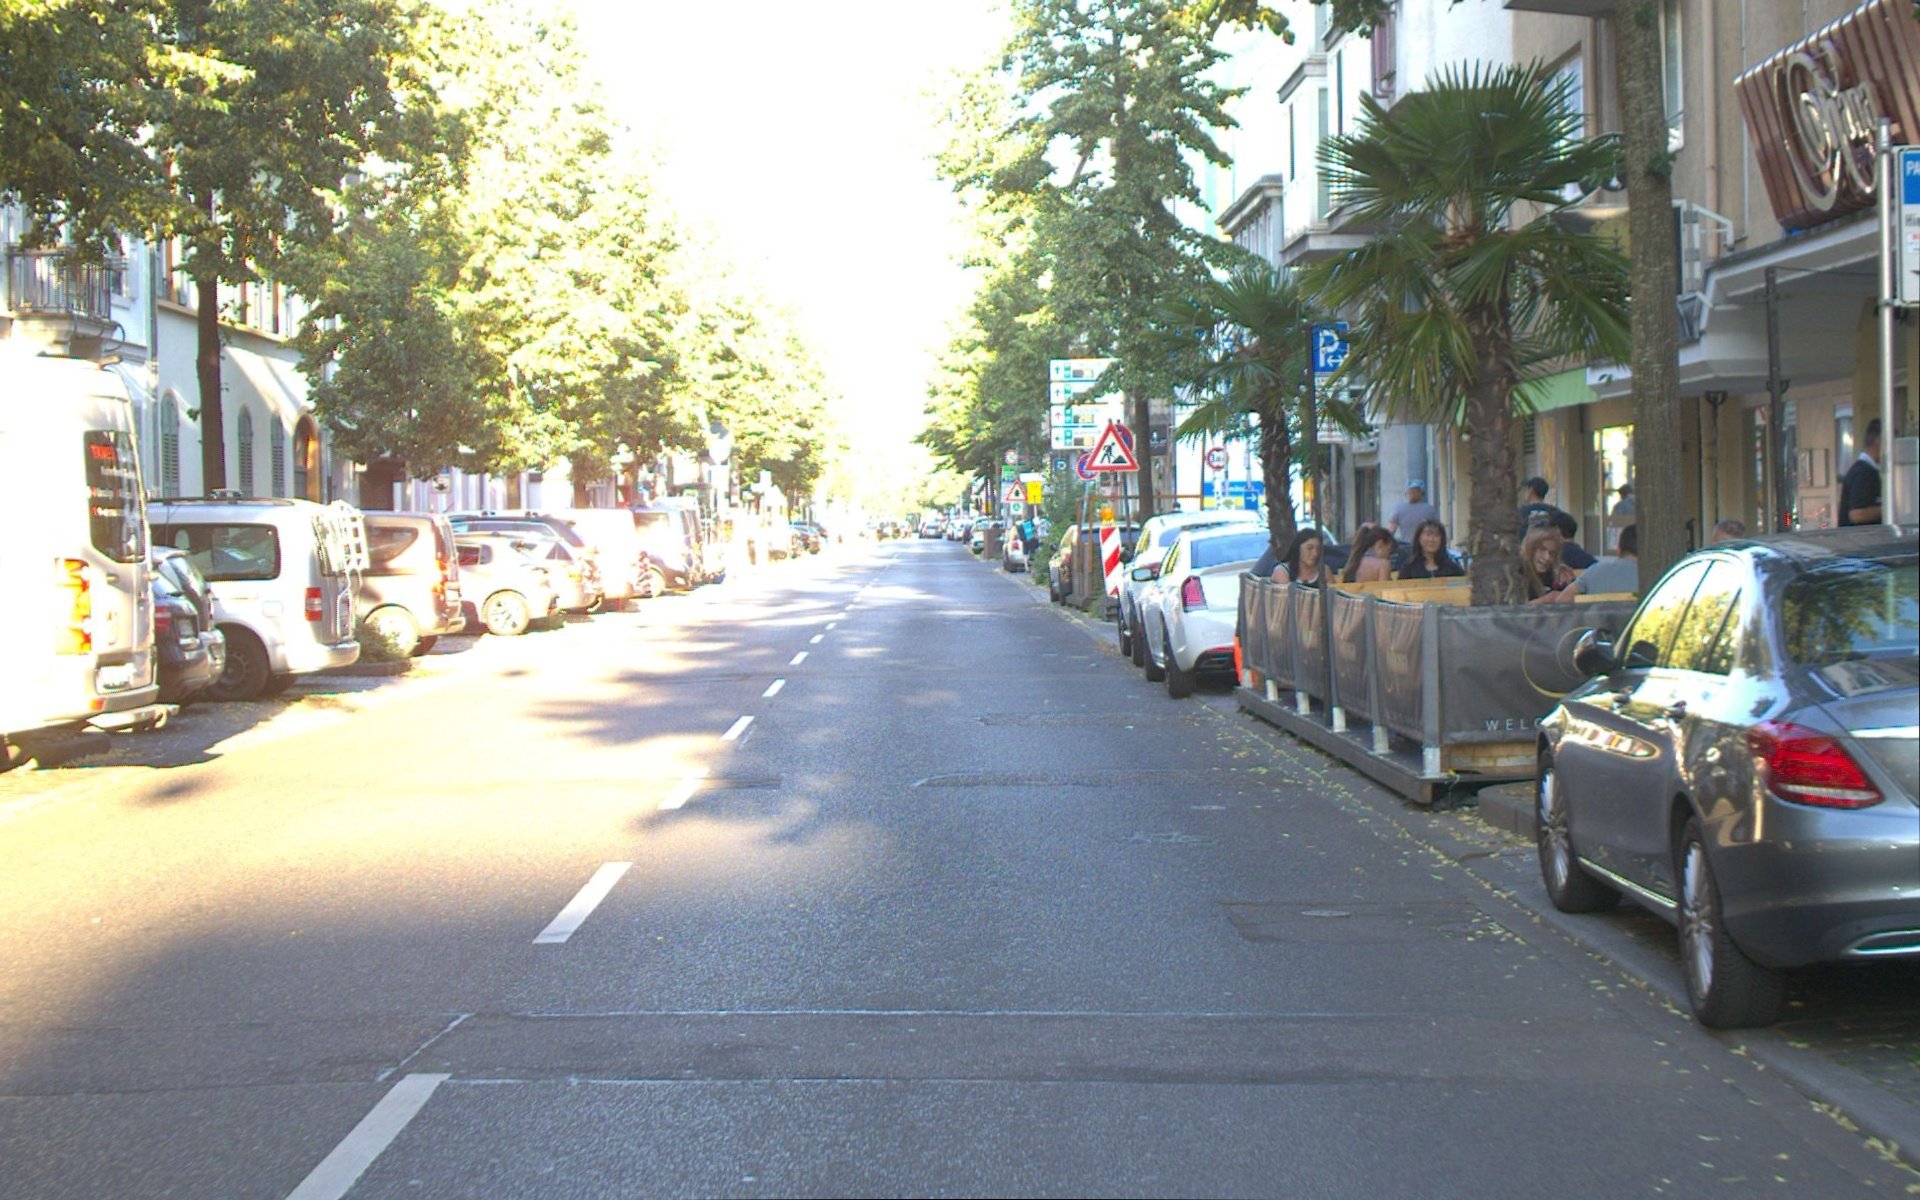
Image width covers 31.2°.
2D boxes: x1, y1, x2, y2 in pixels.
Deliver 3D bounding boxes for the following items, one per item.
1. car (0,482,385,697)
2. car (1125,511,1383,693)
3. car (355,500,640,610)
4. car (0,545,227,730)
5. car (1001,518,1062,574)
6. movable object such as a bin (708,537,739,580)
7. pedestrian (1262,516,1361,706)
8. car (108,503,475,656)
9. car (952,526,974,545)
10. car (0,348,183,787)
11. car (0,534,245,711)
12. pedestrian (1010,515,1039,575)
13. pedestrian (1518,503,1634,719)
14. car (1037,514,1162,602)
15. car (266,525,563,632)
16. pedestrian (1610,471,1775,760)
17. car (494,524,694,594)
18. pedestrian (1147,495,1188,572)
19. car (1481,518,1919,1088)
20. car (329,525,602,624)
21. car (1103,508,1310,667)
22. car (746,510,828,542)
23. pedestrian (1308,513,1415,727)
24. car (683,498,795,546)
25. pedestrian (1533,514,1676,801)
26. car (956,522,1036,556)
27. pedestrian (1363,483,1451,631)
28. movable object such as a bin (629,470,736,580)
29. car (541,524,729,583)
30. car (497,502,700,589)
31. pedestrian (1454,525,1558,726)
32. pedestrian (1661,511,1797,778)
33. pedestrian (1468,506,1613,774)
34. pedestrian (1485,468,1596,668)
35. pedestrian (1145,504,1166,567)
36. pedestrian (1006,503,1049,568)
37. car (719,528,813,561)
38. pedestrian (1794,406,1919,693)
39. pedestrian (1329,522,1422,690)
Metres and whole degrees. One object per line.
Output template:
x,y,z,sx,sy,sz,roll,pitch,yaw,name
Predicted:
-7.823,-0.114,32.221,4.500,1.947,1.919,0,1,2,car
2.670,-0.041,32.346,1.842,1.475,5.190,-3,1,-1,car
-8.313,-0.823,62.156,4.870,1.901,1.974,-1,1,0,car
-7.907,0.278,26.945,3.986,1.399,1.750,0,0,-2,car
2.166,-1.663,104.783,1.687,1.569,4.013,-3,1,0,car
-6.212,-1.091,90.255,0.690,1.101,0.883,-1,1,1,movable object such as a bin
2.512,0.070,24.638,0.577,1.314,0.704,-3,1,0,pedestrian
-8.215,-0.265,42.465,4.138,1.800,1.807,-1,1,1,car
0.227,-4.513,240.782,1.513,1.271,3.304,0,1,1,car
-7.962,-0.248,21.591,5.658,2.612,2.171,1,1,0,car
-8.009,0.167,29.722,3.368,1.462,1.713,1,1,-4,car
1.902,-1.628,101.542,0.677,1.748,0.825,-1,1,-11,pedestrian
4.068,0.066,22.724,0.577,1.380,0.718,-3,1,0,pedestrian
2.529,-0.798,63.245,1.828,1.483,4.850,-3,1,-2,car
-7.820,-0.321,49.540,4.058,1.456,1.686,-1,1,-3,car
4.194,0.076,19.736,0.708,1.593,0.795,-3,1,0,pedestrian
-8.032,-0.905,75.647,4.325,1.496,1.842,0,1,-5,car
5.110,-1.631,84.654,0.822,1.847,1.097,-3,1,-2,pedestrian
3.023,0.488,11.712,1.774,1.435,5.000,-3,1,1,car
-7.804,-0.420,54.512,4.037,1.478,1.963,-1,1,-1,car
2.690,-0.184,38.471,1.879,1.568,4.692,-3,1,0,car
-9.583,-4.117,190.839,4.442,1.753,1.919,0,1,0,car
2.675,0.125,22.944,0.577,1.380,0.603,-3,1,0,pedestrian
-9.151,-3.239,142.599,4.571,1.955,1.991,0,1,-1,car
3.383,0.290,18.080,0.577,1.457,0.603,-3,1,0,pedestrian
1.698,-2.861,161.201,1.674,1.583,3.814,1,2,42,car
5.530,-0.538,42.581,0.855,1.788,0.997,-2,1,-4,pedestrian
-7.725,-2.095,96.211,2.625,2.959,5.304,0,1,-1,movable object such as a bin
-8.324,-1.199,88.226,4.594,1.465,1.892,0,1,3,car
-8.351,-1.272,79.788,4.483,1.969,2.068,0,1,0,car
3.869,0.172,24.382,0.577,1.380,0.603,-3,1,0,pedestrian
3.968,0.221,17.760,0.547,1.340,0.438,-3,1,0,pedestrian
3.325,0.215,19.755,0.631,1.480,0.795,-3,1,0,pedestrian
5.043,-0.284,29.887,0.788,1.698,0.700,-2,1,0,pedestrian
5.855,-1.926,102.840,0.460,1.869,0.501,-2,2,-15,pedestrian
1.932,-1.856,98.958,1.013,1.819,0.780,-3,1,-10,pedestrian
-9.414,-2.710,166.955,4.442,1.562,1.919,0,1,0,car
6.041,-0.350,23.014,0.799,1.876,0.877,-1,3,17,pedestrian
3.167,0.040,26.231,0.577,1.239,0.603,-3,1,0,pedestrian
